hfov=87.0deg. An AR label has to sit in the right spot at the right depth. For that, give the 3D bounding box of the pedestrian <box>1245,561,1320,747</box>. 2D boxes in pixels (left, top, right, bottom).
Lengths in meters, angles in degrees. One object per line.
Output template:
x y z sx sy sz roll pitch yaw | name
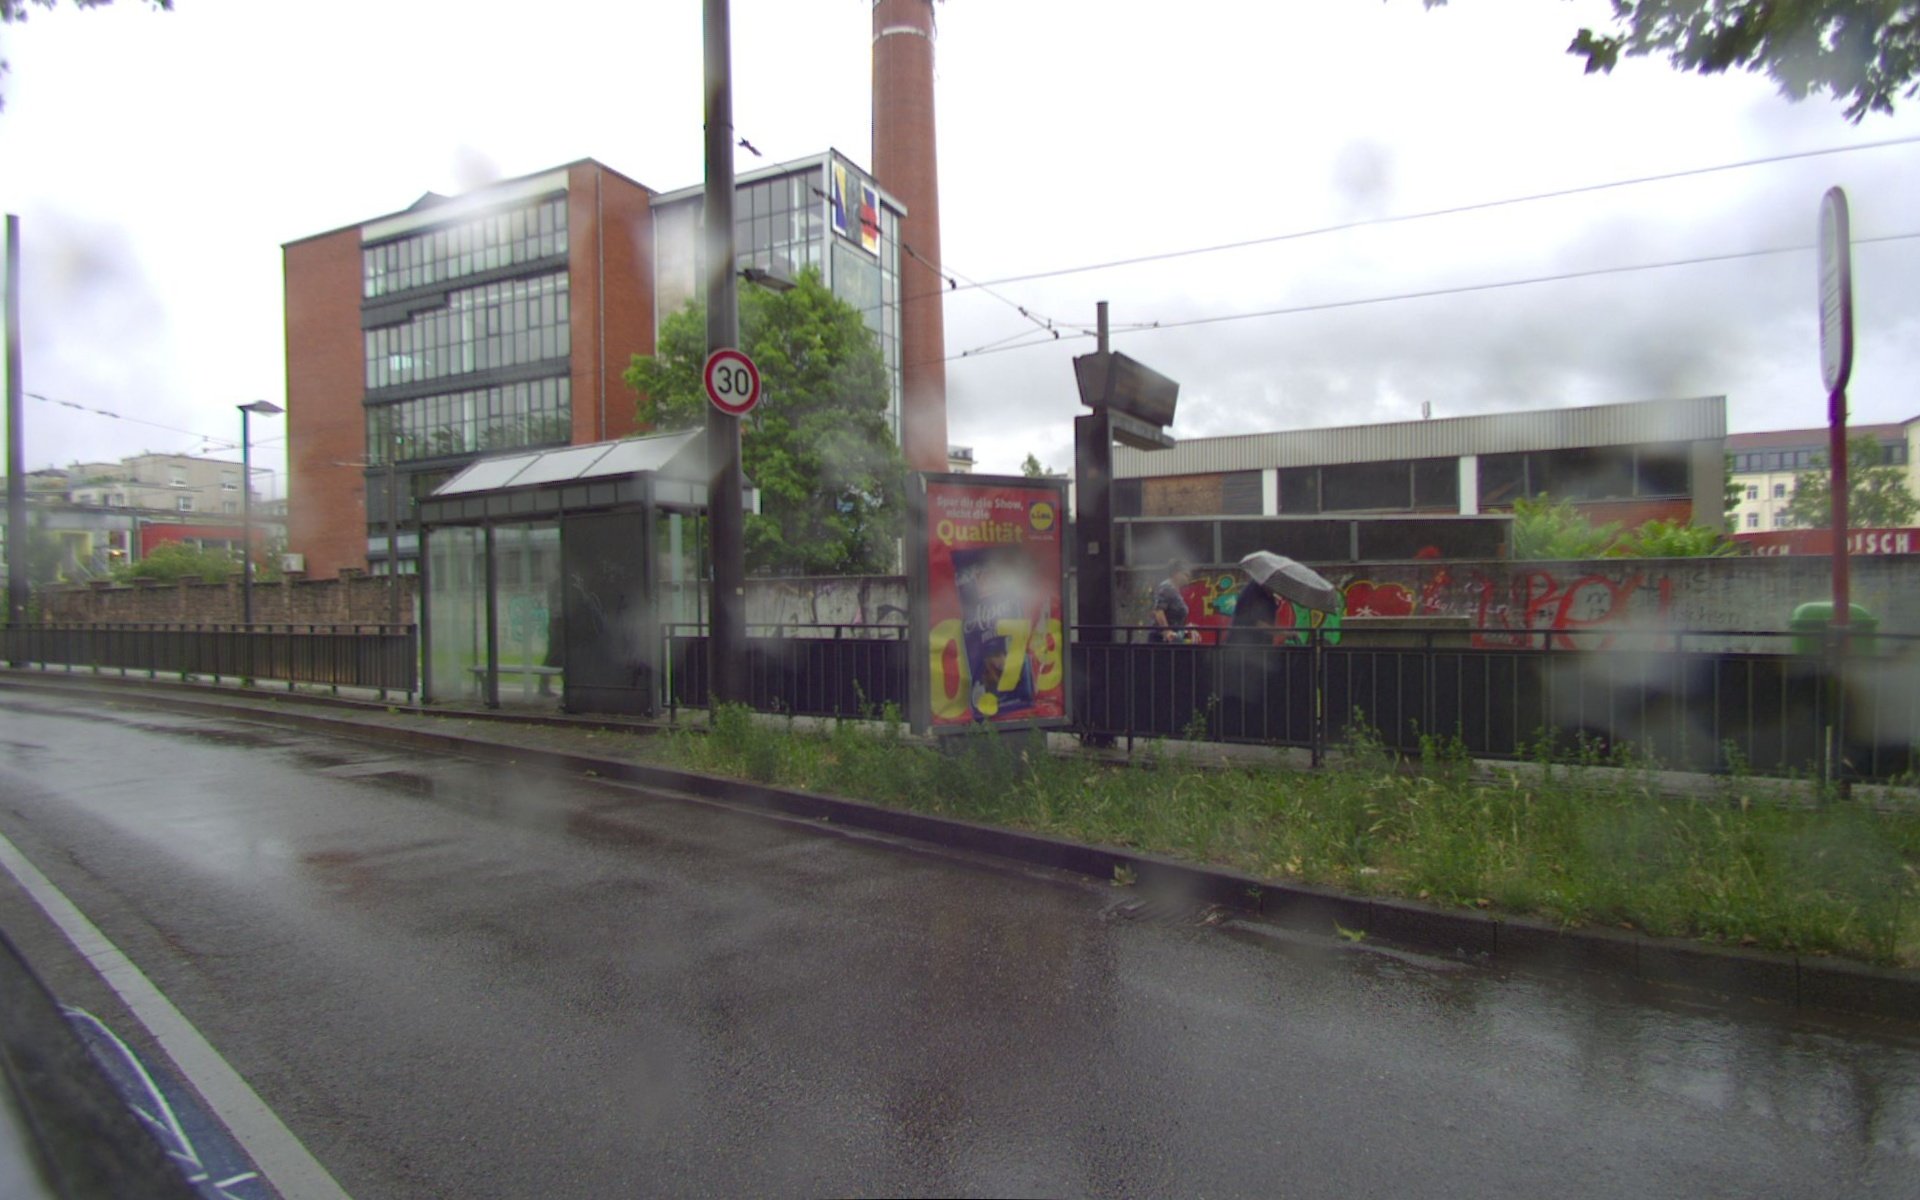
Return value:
2.618 0.416 8.201 0.492 1.438 0.606 -1 0 25 | pedestrian

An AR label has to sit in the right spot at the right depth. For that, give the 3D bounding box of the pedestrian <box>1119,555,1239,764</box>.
2.025 0.520 9.336 0.841 1.818 0.819 -1 0 30 | pedestrian

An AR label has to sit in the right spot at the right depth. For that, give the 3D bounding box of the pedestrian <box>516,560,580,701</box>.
-5.294 0.380 13.006 0.620 1.762 0.515 -1 0 -41 | pedestrian

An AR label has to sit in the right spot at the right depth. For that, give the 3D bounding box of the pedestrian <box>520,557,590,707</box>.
-4.909 0.376 12.265 0.620 1.762 0.565 -1 0 -41 | pedestrian
